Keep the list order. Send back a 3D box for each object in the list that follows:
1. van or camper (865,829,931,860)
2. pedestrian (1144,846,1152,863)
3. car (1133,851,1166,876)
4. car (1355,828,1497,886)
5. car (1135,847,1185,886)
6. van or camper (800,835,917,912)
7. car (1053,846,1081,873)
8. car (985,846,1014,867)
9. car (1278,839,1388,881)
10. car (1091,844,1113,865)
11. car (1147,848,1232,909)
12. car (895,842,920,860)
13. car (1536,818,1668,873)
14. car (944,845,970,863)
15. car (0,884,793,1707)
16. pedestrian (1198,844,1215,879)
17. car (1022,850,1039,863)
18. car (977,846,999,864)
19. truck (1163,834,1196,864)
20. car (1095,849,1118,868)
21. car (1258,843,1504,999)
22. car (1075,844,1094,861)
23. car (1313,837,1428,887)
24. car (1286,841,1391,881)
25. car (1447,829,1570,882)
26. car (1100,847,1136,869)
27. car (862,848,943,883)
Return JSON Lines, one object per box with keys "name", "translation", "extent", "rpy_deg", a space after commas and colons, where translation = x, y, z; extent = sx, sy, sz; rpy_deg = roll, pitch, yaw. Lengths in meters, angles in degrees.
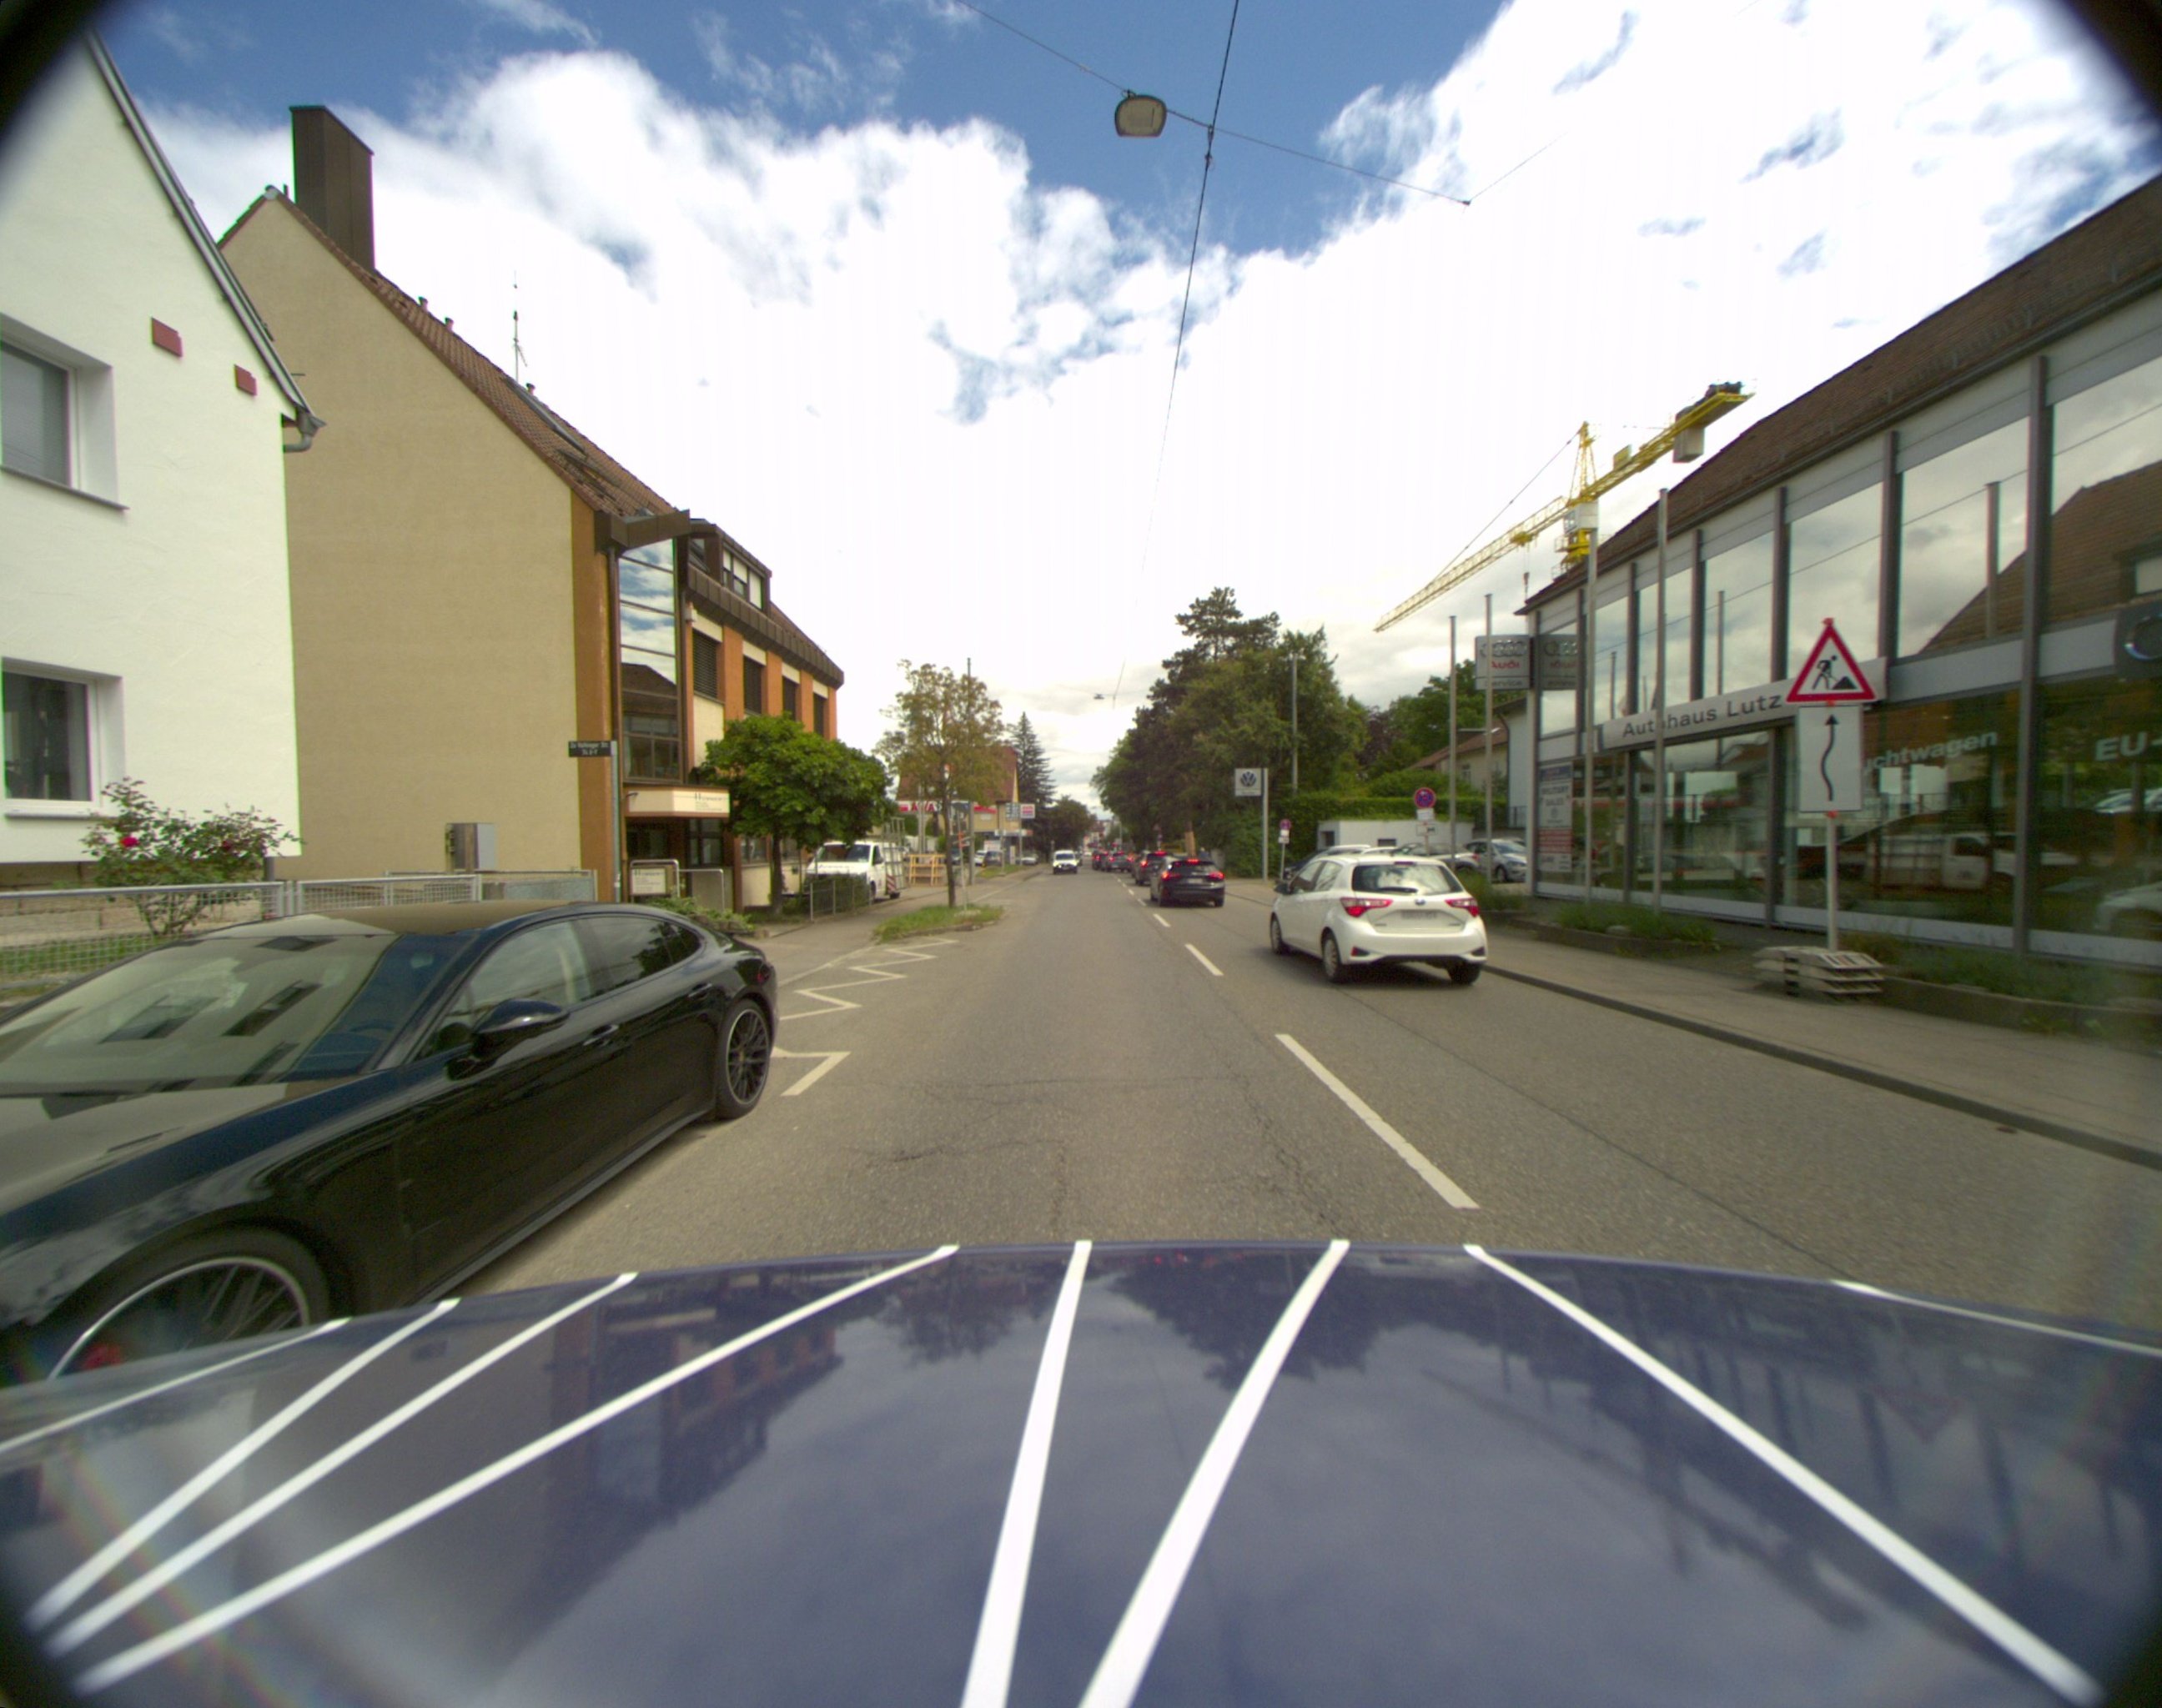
{"name": "van or camper", "translation": [-18.292, -0.944, 76.234], "extent": [5.975, 2.834, 2.530], "rpy_deg": [2, 1, -2]}
{"name": "pedestrian", "translation": [7.551, 0.013, 85.555], "extent": [0.835, 1.837, 1.022], "rpy_deg": [-3, 2, 4]}
{"name": "car", "translation": [4.229, 0.540, 47.446], "extent": [1.744, 1.421, 4.523], "rpy_deg": [-1, 1, 1]}
{"name": "car", "translation": [11.732, 0.098, 25.990], "extent": [4.023, 1.621, 1.654], "rpy_deg": [-4, 1, -1]}
{"name": "car", "translation": [3.595, 0.530, 35.379], "extent": [1.836, 1.620, 4.320], "rpy_deg": [-2, 0, 0]}
{"name": "van or camper", "translation": [-6.727, 0.491, 23.521], "extent": [1.871, 2.020, 4.547], "rpy_deg": [-3, 2, 4]}
{"name": "car", "translation": [-1.034, 0.411, 58.412], "extent": [1.965, 1.797, 4.428], "rpy_deg": [-4, 2, 1]}
{"name": "car", "translation": [-6.790, 0.169, 63.395], "extent": [1.619, 1.587, 4.160], "rpy_deg": [4, 1, 4]}
{"name": "car", "translation": [11.434, 0.269, 34.693], "extent": [4.300, 1.631, 1.903], "rpy_deg": [-3, 1, 1]}
{"name": "car", "translation": [2.060, 0.000, 75.032], "extent": [1.913, 1.940, 4.912], "rpy_deg": [-2, 0, -1]}
{"name": "car", "translation": [3.084, 0.628, 22.412], "extent": [1.836, 1.514, 4.169], "rpy_deg": [-2, 1, -1]}
{"name": "car", "translation": [-16.521, -0.277, 72.517], "extent": [1.641, 1.576, 3.745], "rpy_deg": [2, 2, -2]}
{"name": "car", "translation": [17.670, -0.258, 25.996], "extent": [1.811, 1.575, 3.804], "rpy_deg": [-5, 0, 0]}
{"name": "car", "translation": [-11.704, -0.028, 71.968], "extent": [1.716, 1.533, 4.654], "rpy_deg": [2, 2, -1]}
{"name": "car", "translation": [-3.068, 1.015, 2.931], "extent": [1.989, 1.440, 4.750], "rpy_deg": [-2, 1, 1]}
{"name": "pedestrian", "translation": [6.598, 0.389, 39.867], "extent": [0.684, 1.727, 0.868], "rpy_deg": [-3, 2, 0]}
{"name": "car", "translation": [-5.802, 0.272, 87.407], "extent": [1.789, 1.309, 4.479], "rpy_deg": [-1, 1, -2]}
{"name": "car", "translation": [-8.920, 0.062, 73.147], "extent": [1.638, 1.520, 4.201], "rpy_deg": [2, 2, -2]}
{"name": "truck", "translation": [8.786, -0.479, 68.409], "extent": [2.311, 2.406, 6.092], "rpy_deg": [-3, 2, 2]}
{"name": "car", "translation": [2.180, 0.401, 66.204], "extent": [1.870, 1.518, 4.527], "rpy_deg": [-2, 1, 1]}
{"name": "car", "translation": [3.637, 0.691, 9.969], "extent": [1.694, 1.570, 3.798], "rpy_deg": [-2, 1, 0]}
{"name": "car", "translation": [0.419, -0.216, 87.778], "extent": [1.965, 1.797, 4.222], "rpy_deg": [-4, 2, 1]}
{"name": "car", "translation": [11.007, 0.289, 29.033], "extent": [3.749, 1.551, 1.534], "rpy_deg": [-4, 1, -1]}
{"name": "car", "translation": [10.721, 0.285, 31.784], "extent": [3.749, 1.509, 1.729], "rpy_deg": [-2, 1, -1]}
{"name": "car", "translation": [14.942, 0.062, 26.855], "extent": [1.811, 1.575, 4.327], "rpy_deg": [-5, 0, 0]}
{"name": "car", "translation": [2.859, 0.301, 59.484], "extent": [1.872, 1.608, 4.531], "rpy_deg": [-1, 0, -9]}
{"name": "car", "translation": [-9.289, 0.558, 39.320], "extent": [4.306, 1.621, 1.639], "rpy_deg": [2, 1, 36]}
